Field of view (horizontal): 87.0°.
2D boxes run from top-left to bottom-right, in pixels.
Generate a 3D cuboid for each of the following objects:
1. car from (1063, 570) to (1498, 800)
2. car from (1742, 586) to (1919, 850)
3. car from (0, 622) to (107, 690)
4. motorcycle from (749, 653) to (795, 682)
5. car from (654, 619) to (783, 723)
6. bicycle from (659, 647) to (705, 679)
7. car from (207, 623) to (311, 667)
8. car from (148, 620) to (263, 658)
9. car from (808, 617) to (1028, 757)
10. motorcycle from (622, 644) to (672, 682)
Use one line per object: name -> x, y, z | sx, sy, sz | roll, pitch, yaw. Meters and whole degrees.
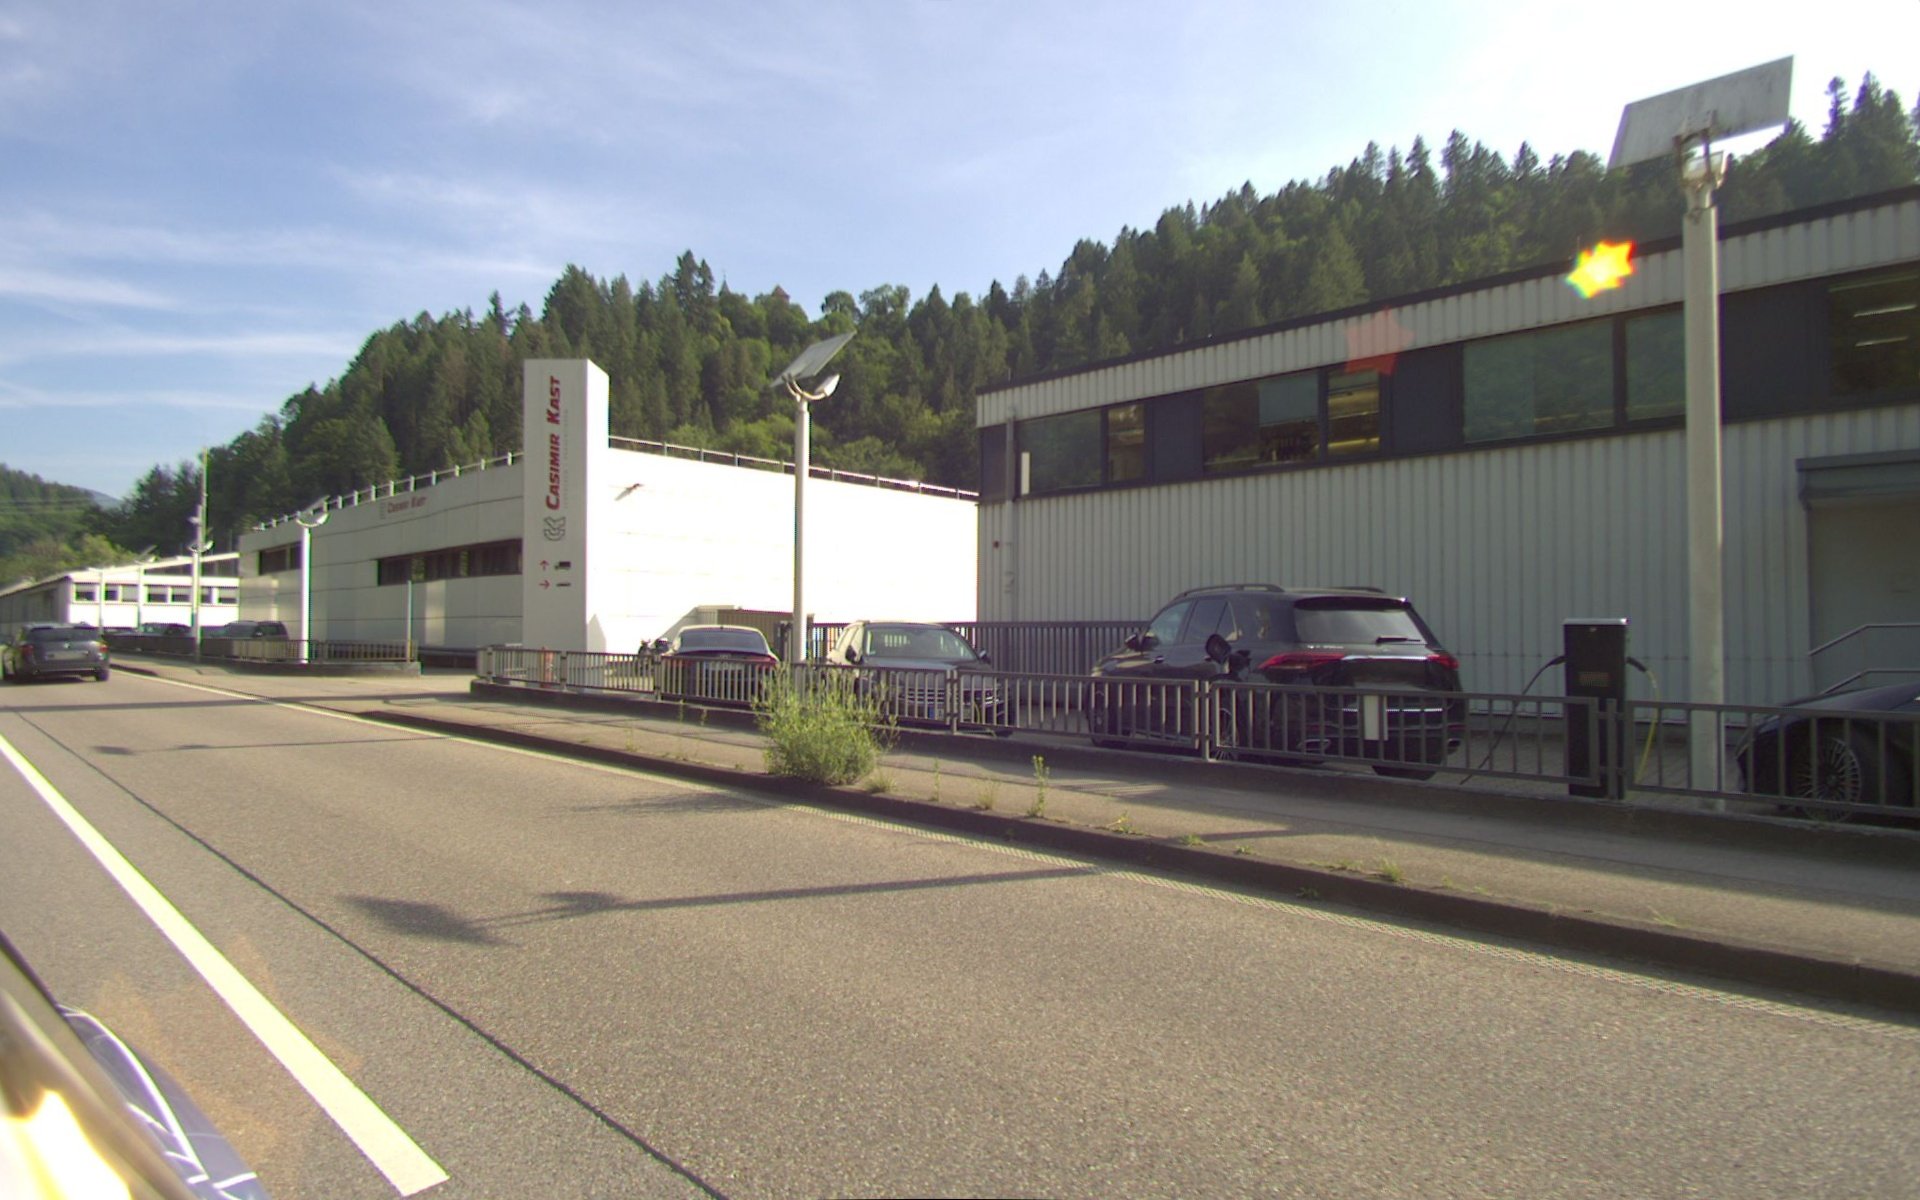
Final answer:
car -> 2.797, 0.757, 10.245 | 1.966, 1.755, 4.703 | 0, -3, -14
car -> 7.190, 0.690, 5.044 | 1.965, 1.573, 4.869 | 0, -1, -22
car -> -22.412, 1.316, 24.907 | 4.246, 1.496, 1.659 | -2, 0, 43
motorcycle -> -6.433, 2.279, 34.579 | 1.927, 0.939, 0.508 | -2, -3, 43
car -> -3.958, 1.034, 16.071 | 1.683, 1.386, 4.748 | 1, -2, -17
bicycle -> -9.072, 2.048, 33.026 | 1.911, 0.998, 0.506 | -2, -4, 44
car -> -28.931, 1.809, 41.925 | 1.754, 1.721, 4.115 | 0, -1, -5
car -> -31.865, 1.632, 42.938 | 1.859, 1.506, 4.494 | 0, -1, -6
car -> -0.762, 0.991, 13.048 | 1.683, 1.450, 4.748 | 1, -2, -17
motorcycle -> -9.813, 1.956, 31.695 | 2.089, 1.161, 0.506 | -2, -4, 44
